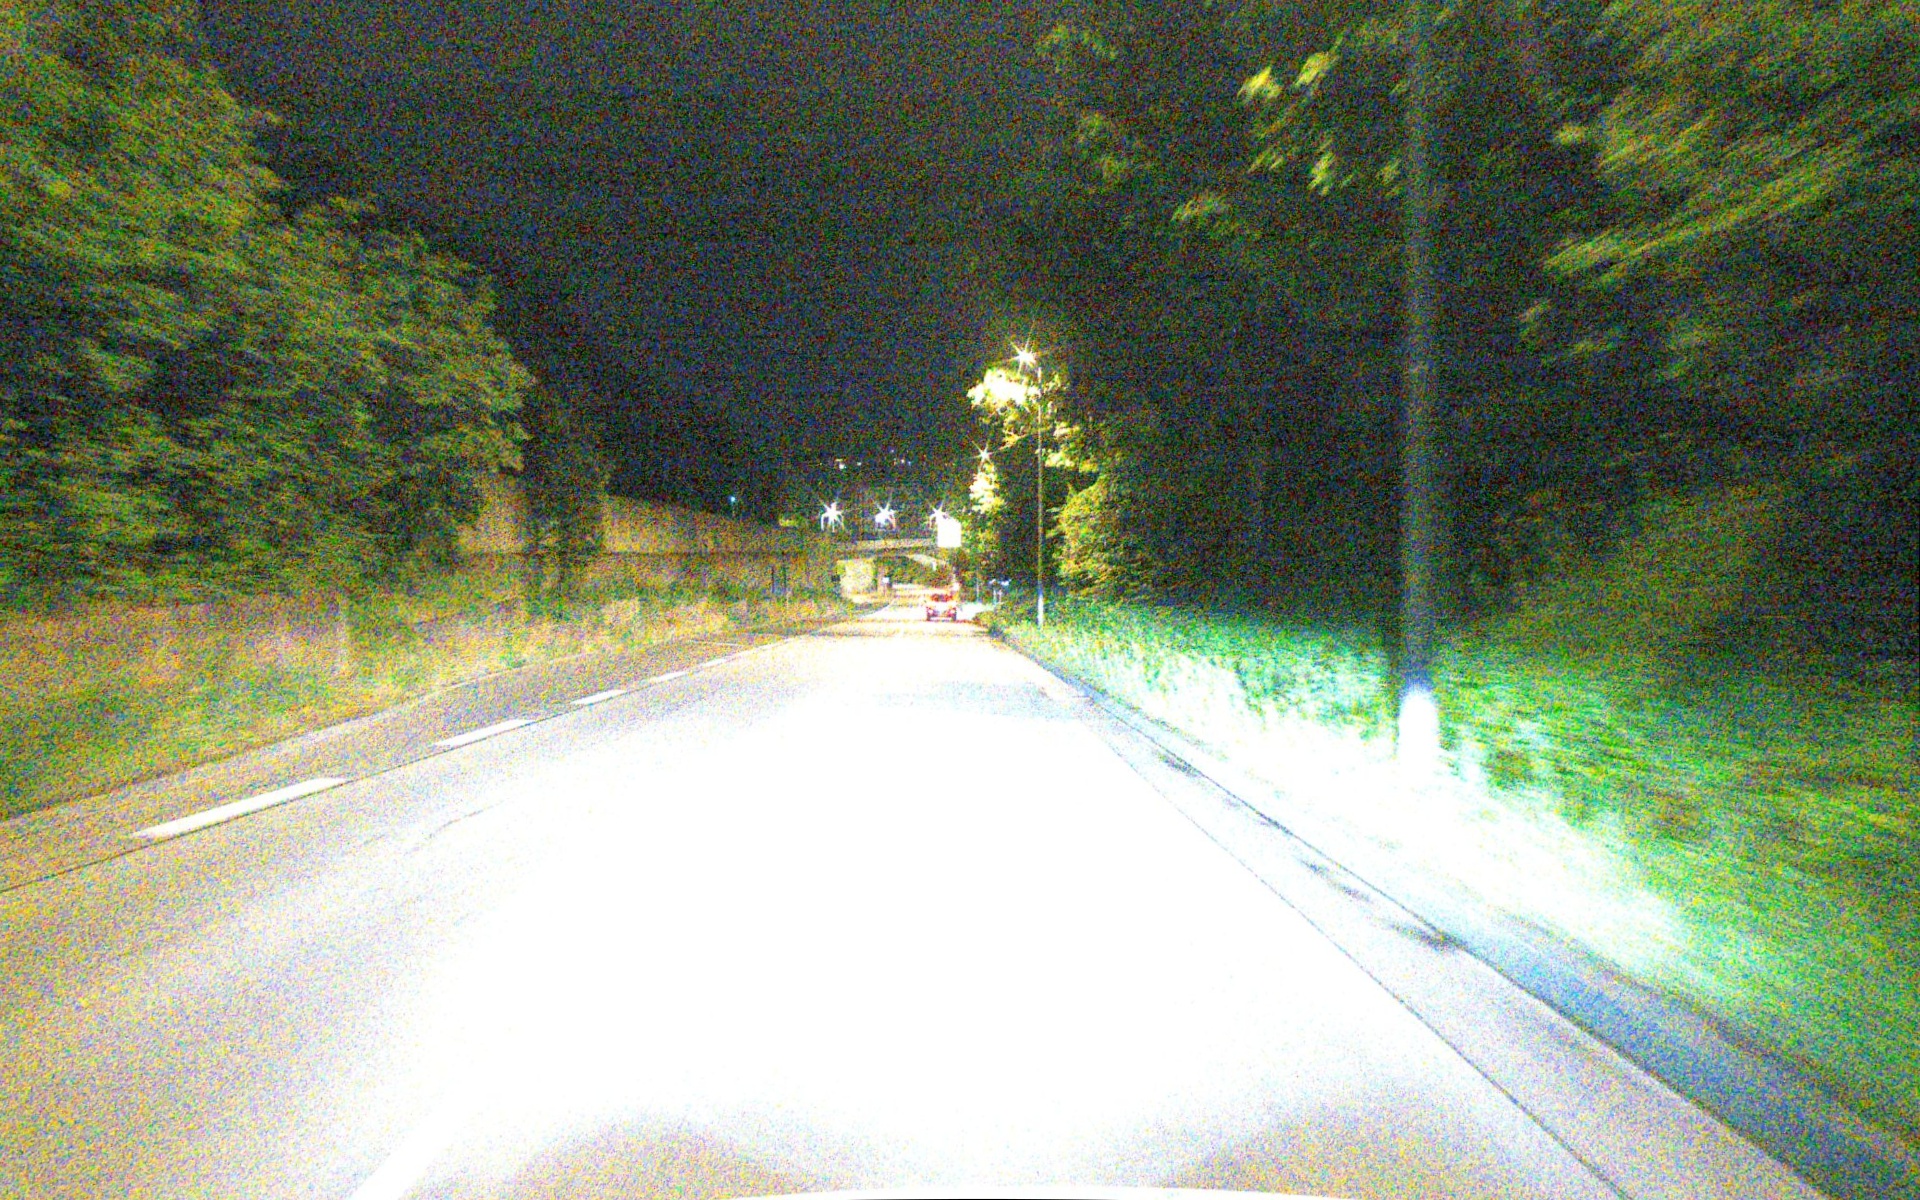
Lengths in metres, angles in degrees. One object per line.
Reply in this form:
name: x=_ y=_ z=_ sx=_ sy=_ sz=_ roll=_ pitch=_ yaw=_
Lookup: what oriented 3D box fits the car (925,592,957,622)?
car: x=-1.094 y=0.412 z=97.820 sx=1.726 sy=1.670 sz=3.724 roll=1 pitch=1 yaw=2
